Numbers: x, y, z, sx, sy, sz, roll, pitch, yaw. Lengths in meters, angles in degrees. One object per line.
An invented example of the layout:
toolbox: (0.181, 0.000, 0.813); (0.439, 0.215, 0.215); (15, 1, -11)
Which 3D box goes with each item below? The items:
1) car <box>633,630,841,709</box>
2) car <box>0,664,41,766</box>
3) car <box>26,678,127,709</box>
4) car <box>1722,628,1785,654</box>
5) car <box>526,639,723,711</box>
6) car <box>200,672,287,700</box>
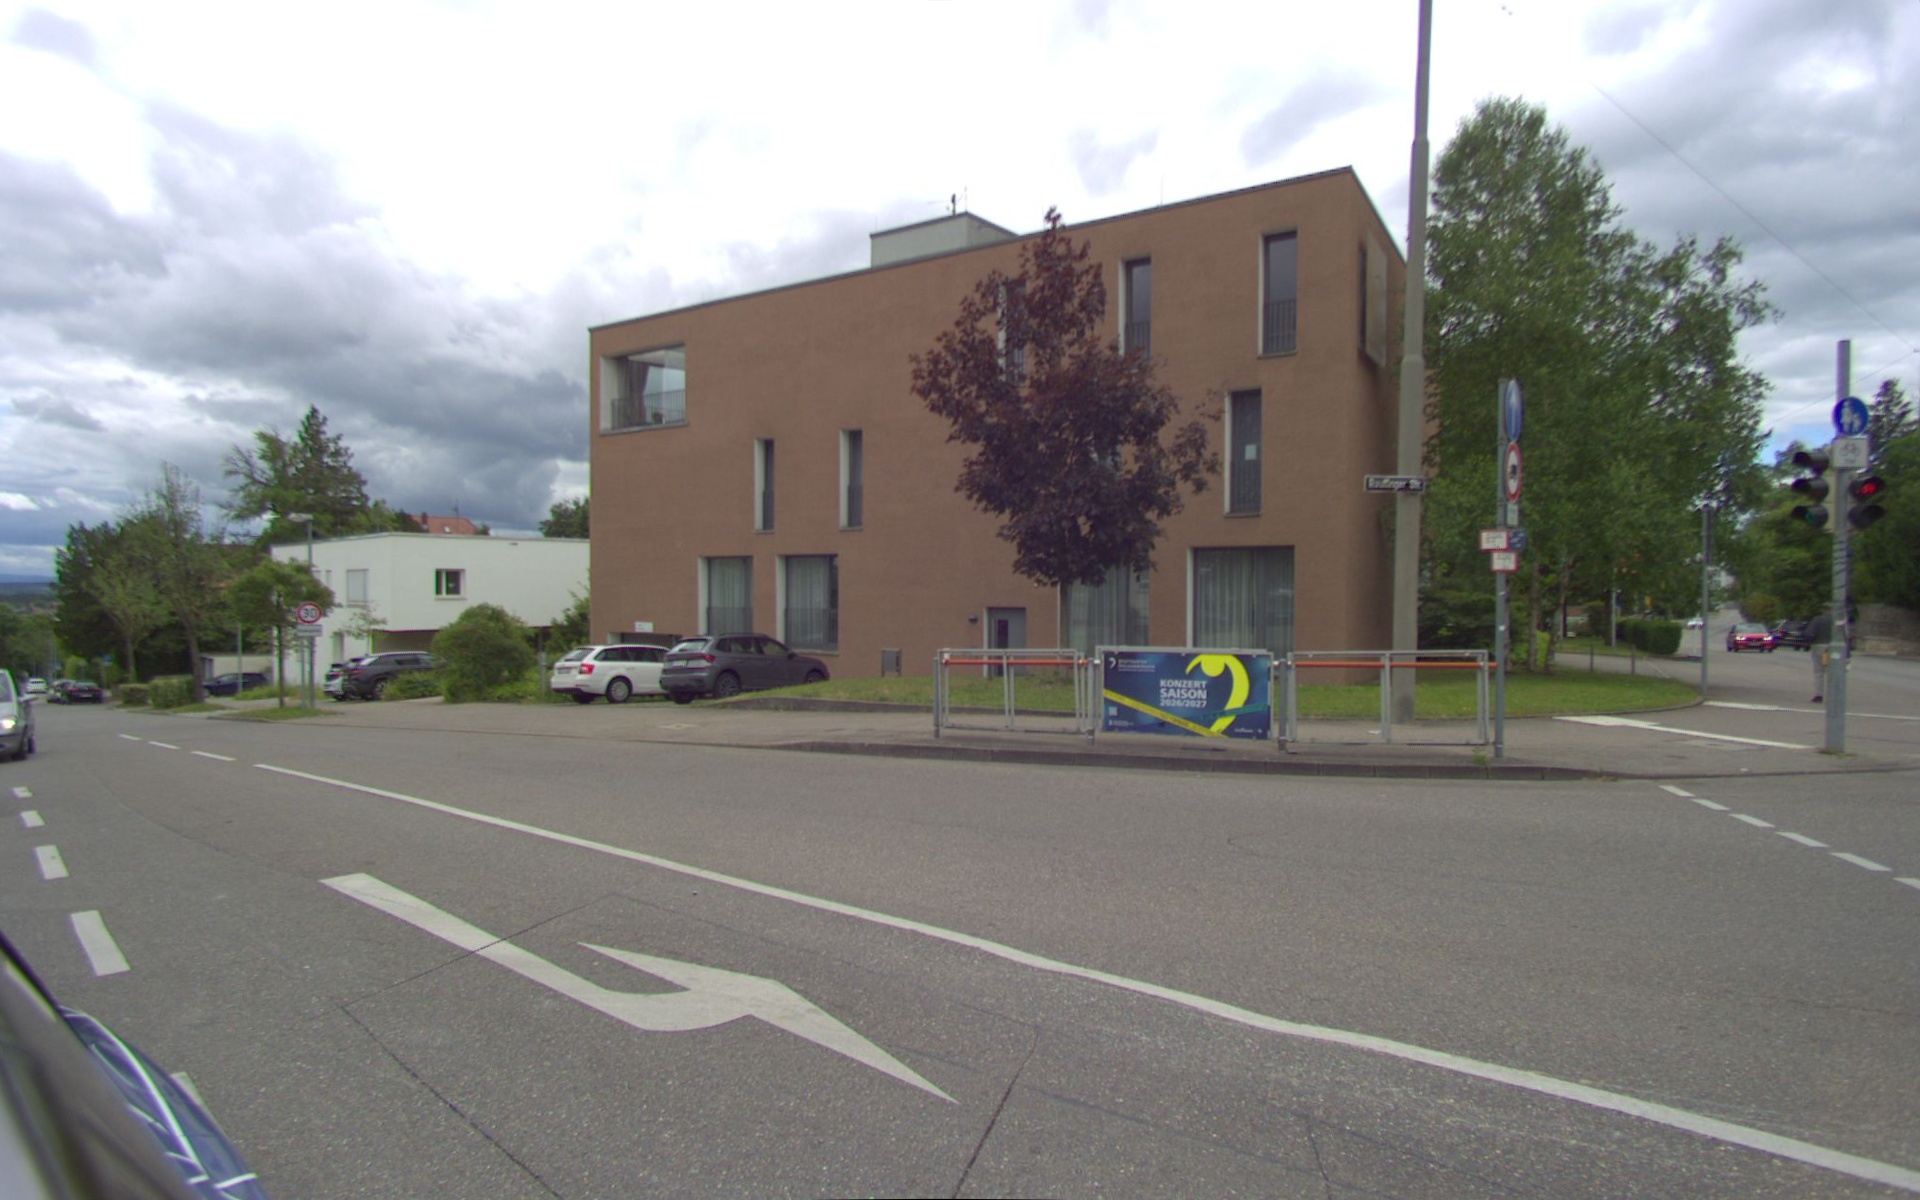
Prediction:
car: (-4.997, 1.524, 23.161); (1.998, 1.570, 4.378); (-3, -2, 39)
car: (-17.191, 2.018, 17.334); (1.969, 1.608, 4.006); (-2, -3, -40)
car: (-53.684, 5.660, 61.573); (1.998, 1.570, 4.378); (-2, -2, 39)
car: (42.519, 2.154, 54.314); (1.991, 1.209, 3.961); (-1, 0, 28)
car: (-8.418, 1.829, 25.698); (1.998, 1.570, 4.378); (-3, -2, 39)
car: (-47.402, 5.691, 66.993); (1.998, 1.570, 4.378); (-3, -2, 39)
